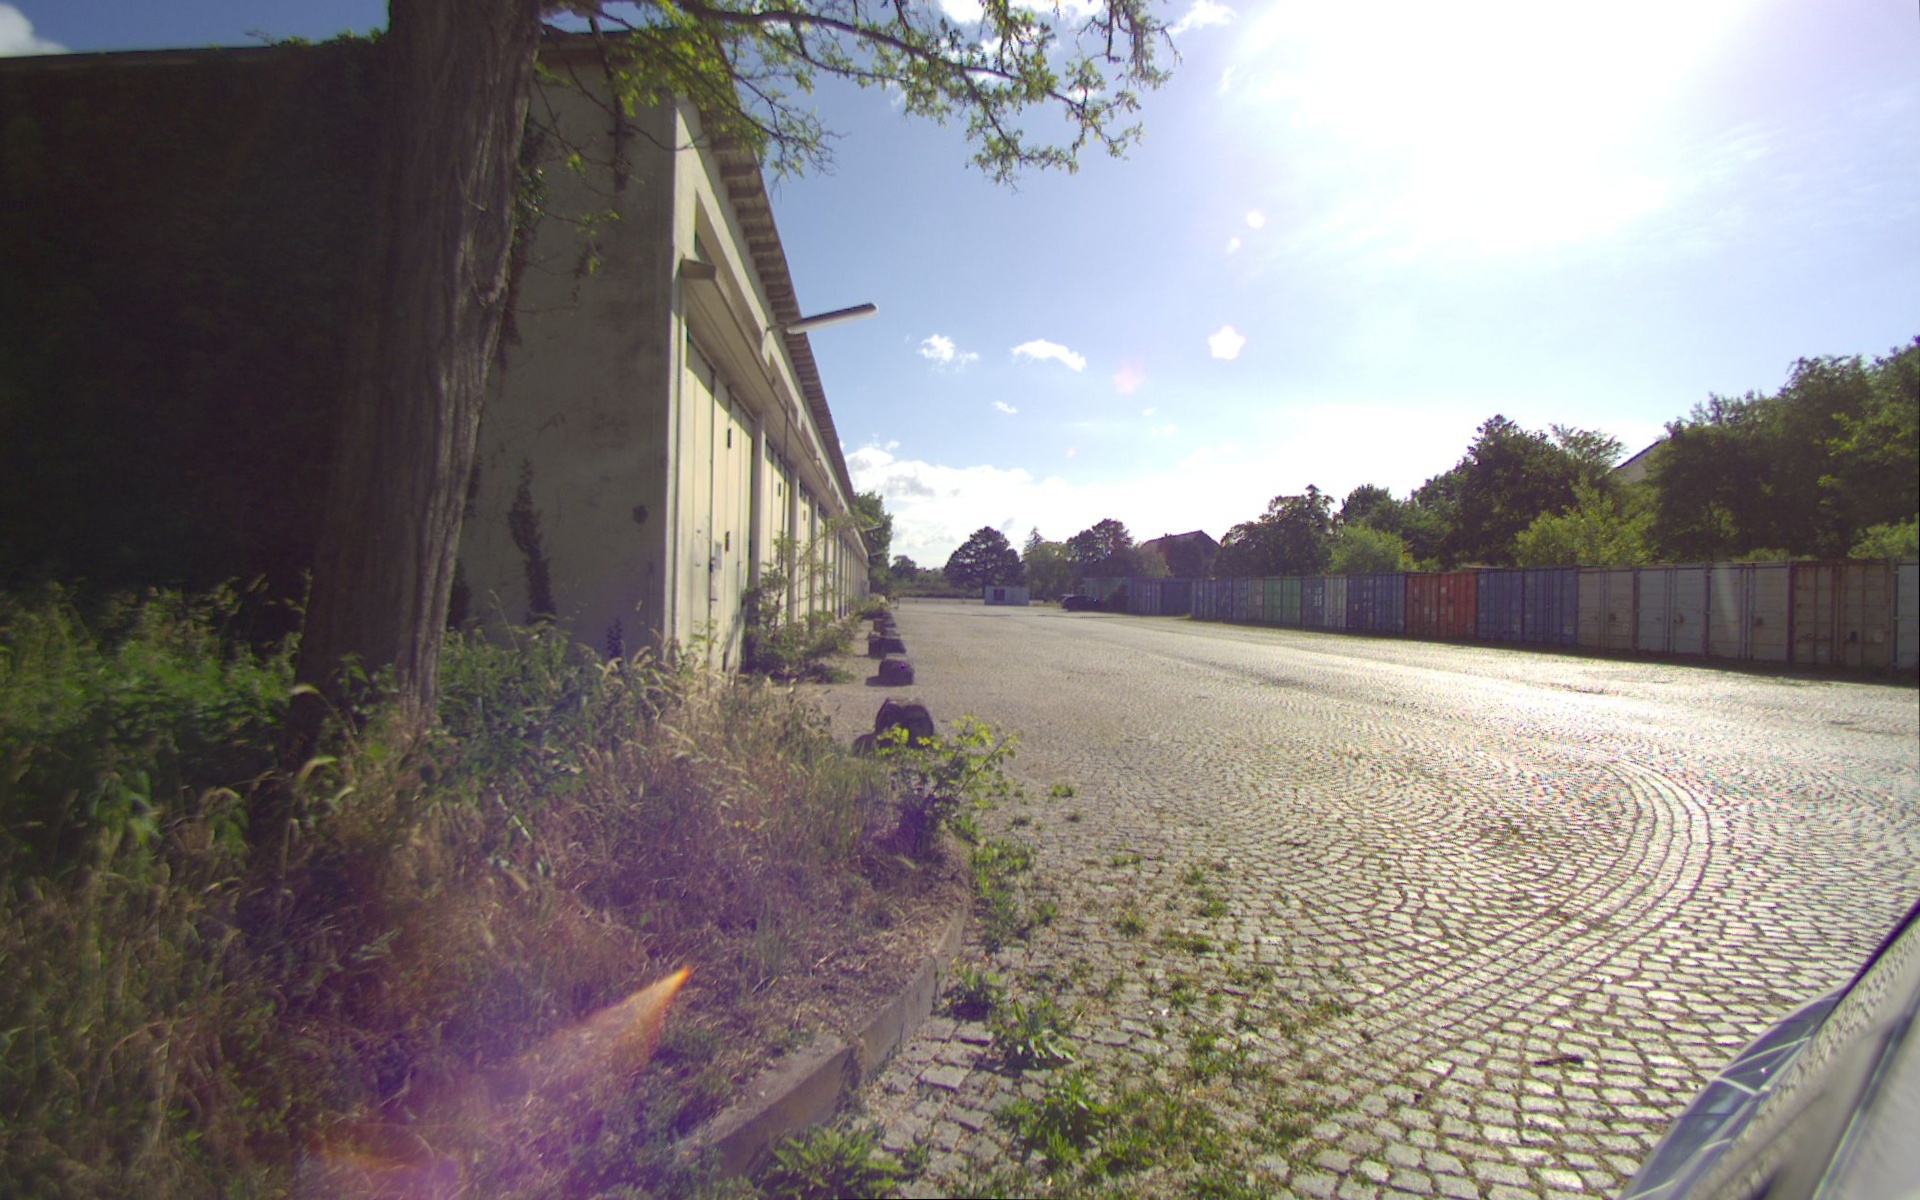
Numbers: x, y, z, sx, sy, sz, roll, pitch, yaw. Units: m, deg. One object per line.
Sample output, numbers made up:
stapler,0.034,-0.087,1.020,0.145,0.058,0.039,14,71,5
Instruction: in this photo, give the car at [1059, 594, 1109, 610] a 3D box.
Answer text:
car,11.005,0.152,89.874,4.032,1.313,2.003,-1,1,-6
